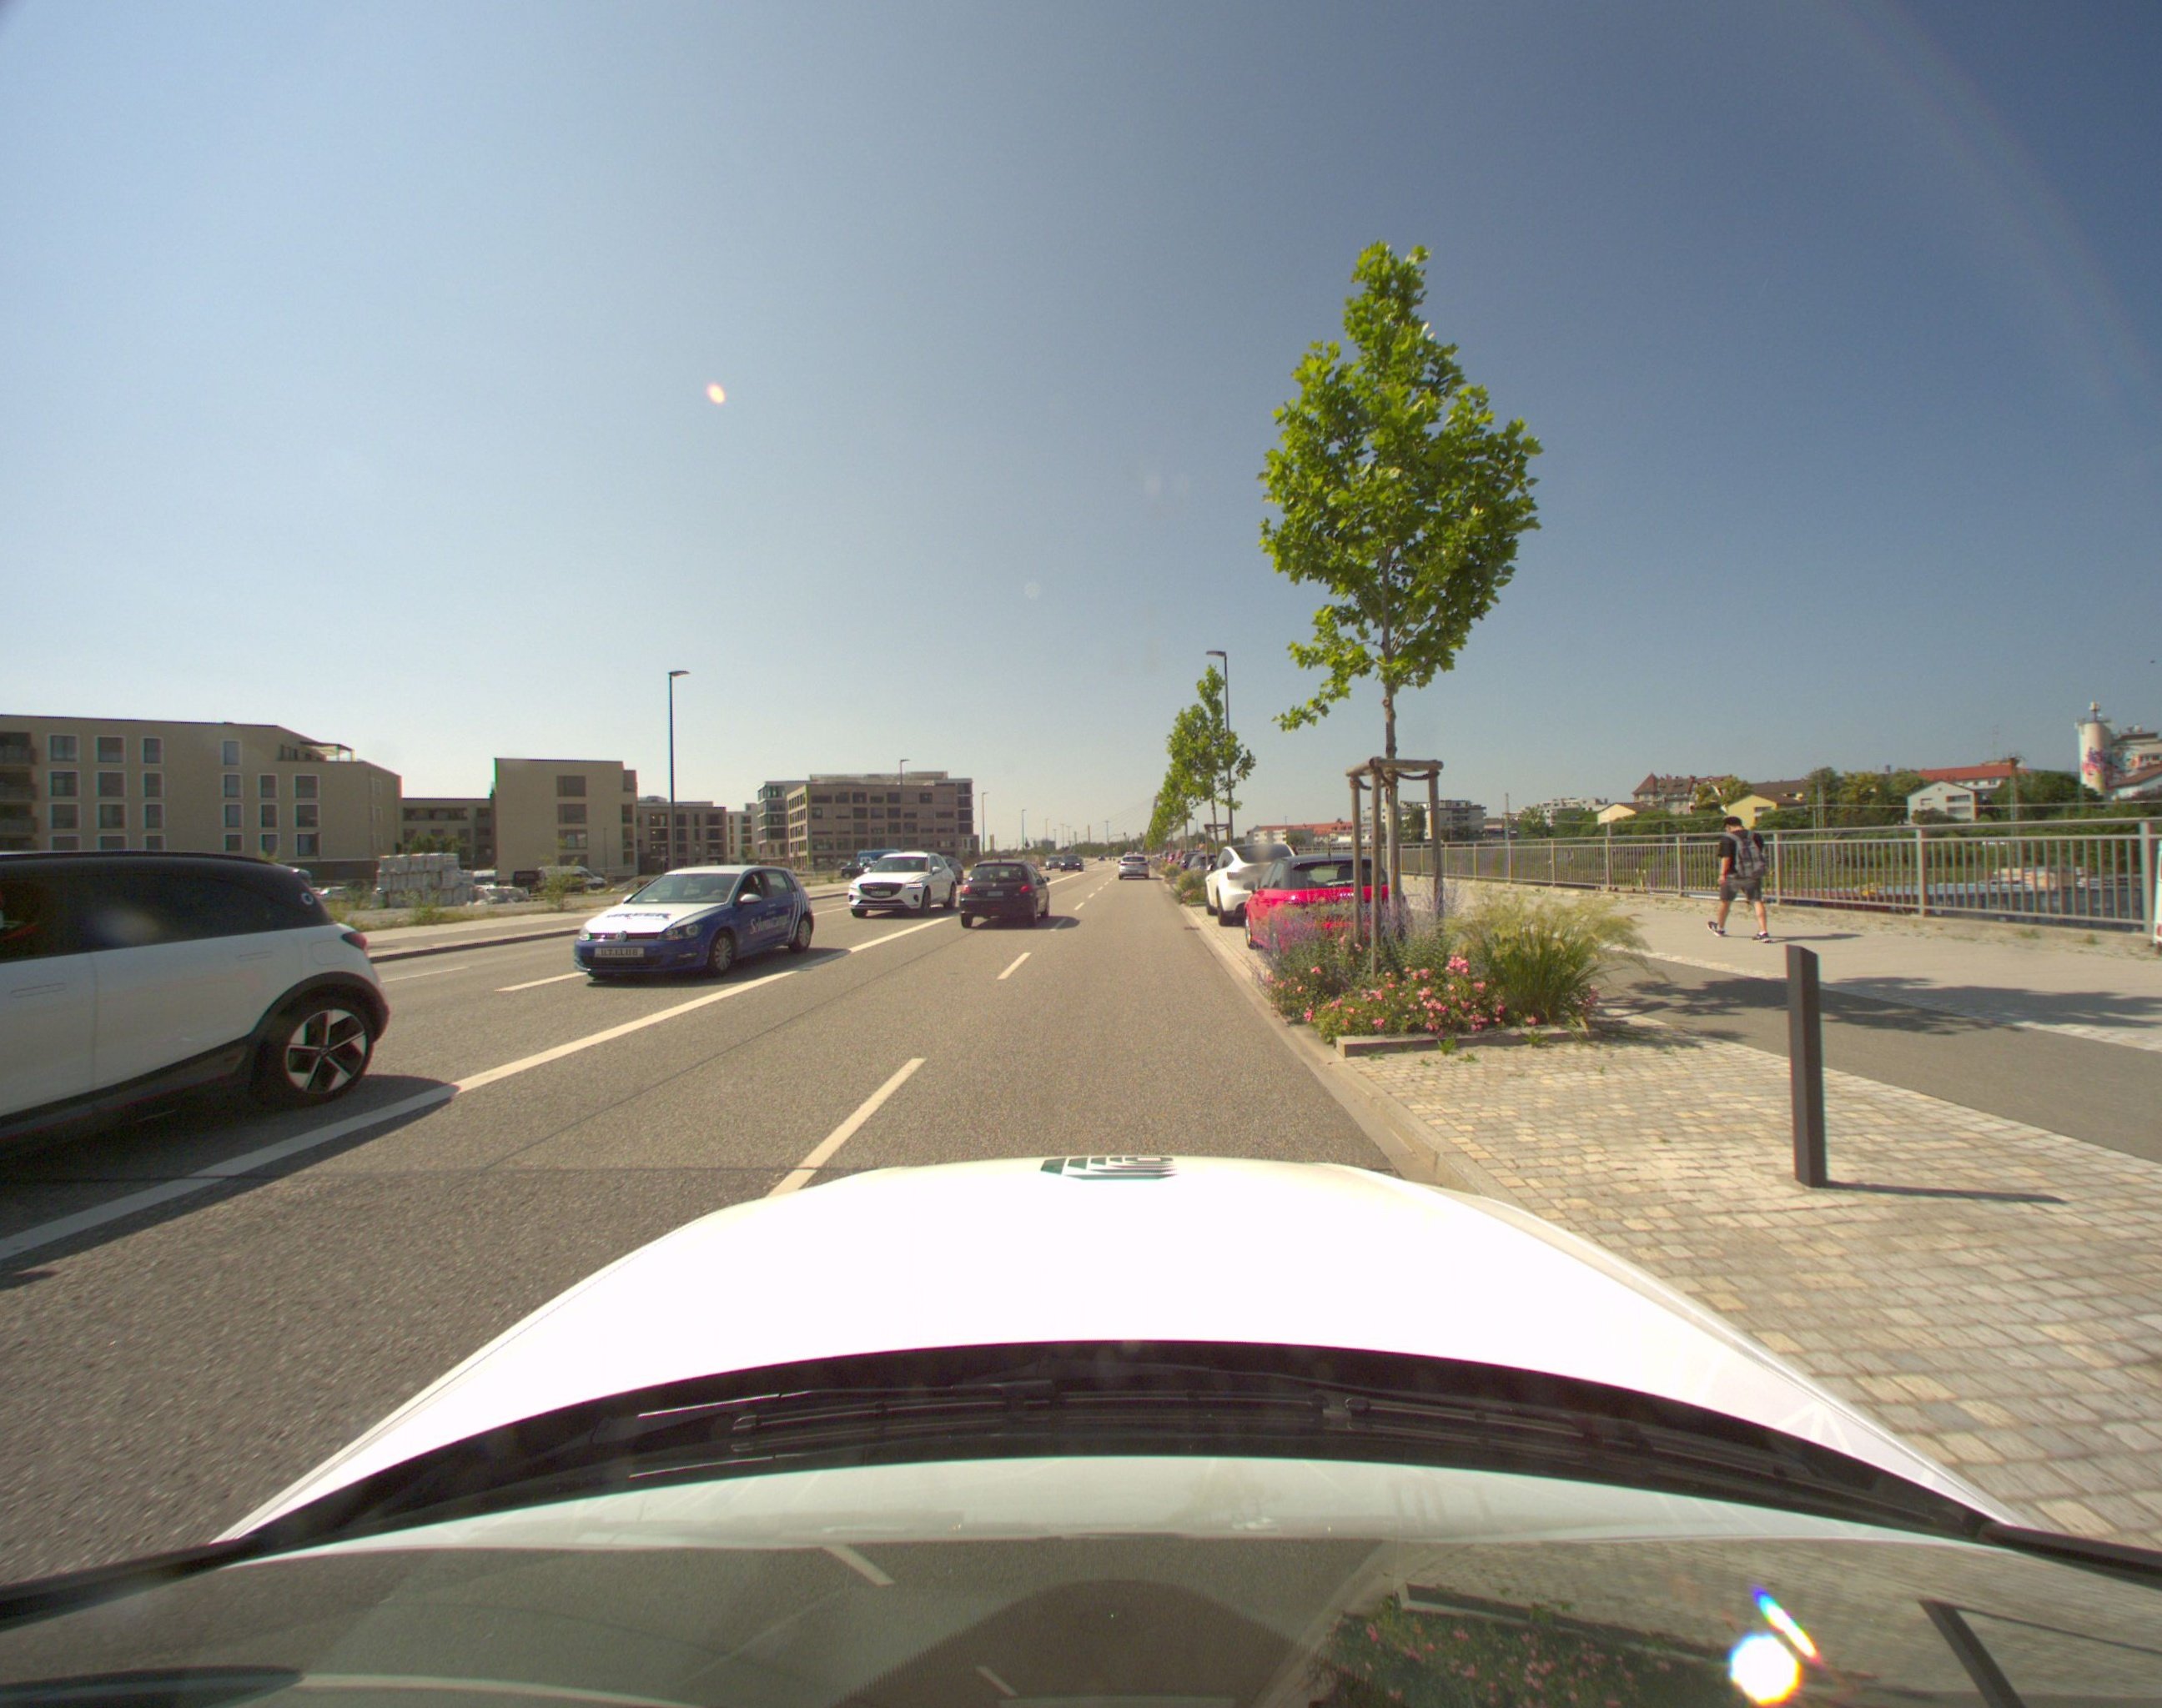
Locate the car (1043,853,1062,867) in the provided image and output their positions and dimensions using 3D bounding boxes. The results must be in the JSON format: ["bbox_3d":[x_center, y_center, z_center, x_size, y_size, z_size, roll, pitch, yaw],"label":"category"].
[{"bbox_3d":[-2.995,0.651,85.915,1.788,1.416,3.999,0,-1,0],"label":"car"}]

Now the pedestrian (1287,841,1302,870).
[{"bbox_3d":[12.794,0.088,48.868,0.728,1.705,0.652,0,-2,4],"label":"pedestrian"}]

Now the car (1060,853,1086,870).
[{"bbox_3d":[-0.638,0.606,70.916,1.778,1.398,4.578,-1,0,5],"label":"car"}]

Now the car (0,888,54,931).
[{"bbox_3d":[-53.244,2.742,39.841,2.005,2.013,4.611,-2,0,-28],"label":"car"}]

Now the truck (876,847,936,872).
[{"bbox_3d":[-18.167,0.542,84.718,5.544,2.362,2.276,-2,0,2],"label":"truck"}]

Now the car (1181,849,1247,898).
[{"bbox_3d":[4.455,0.602,27.792,1.899,1.479,4.164,-2,0,5],"label":"car"}]

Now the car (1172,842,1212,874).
[{"bbox_3d":[6.041,0.191,44.735,1.899,1.616,4.555,-2,0,5],"label":"car"}]

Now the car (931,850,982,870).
[{"bbox_3d":[-14.145,0.689,92.854,5.424,2.173,2.395,0,-1,0],"label":"car"}]

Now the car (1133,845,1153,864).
[{"bbox_3d":[5.955,0.038,78.725,1.786,1.750,4.001,0,-1,1],"label":"car"}]

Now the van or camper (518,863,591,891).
[{"bbox_3d":[-52.941,2.280,81.939,5.957,2.559,1.914,-2,0,-37],"label":"van or camper"}]

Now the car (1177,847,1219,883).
[{"bbox_3d":[5.169,0.450,36.305,1.612,1.479,3.830,-2,0,5],"label":"car"}]

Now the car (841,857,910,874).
[{"bbox_3d":[-18.467,1.010,73.291,5.629,1.474,2.108,0,-1,1],"label":"car"}]

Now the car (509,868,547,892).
[{"bbox_3d":[-46.923,2.160,69.174,2.003,1.849,3.967,-1,0,-25],"label":"car"}]

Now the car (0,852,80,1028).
[{"bbox_3d":[-11.599,0.889,6.556,1.986,1.706,4.002,-4,-1,2],"label":"car"}]

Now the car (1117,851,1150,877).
[{"bbox_3d":[3.137,0.564,48.212,1.769,1.442,4.007,-1,0,6],"label":"car"}]

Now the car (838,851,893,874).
[{"bbox_3d":[-17.749,0.716,67.257,3.961,1.904,1.833,0,-1,11],"label":"car"}]

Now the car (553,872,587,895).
[{"bbox_3d":[-44.082,2.500,70.326,2.003,1.849,3.967,-1,0,-25],"label":"car"}]

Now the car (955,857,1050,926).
[{"bbox_3d":[-1.681,0.785,18.623,1.613,1.416,3.730,0,-1,3],"label":"car"}]

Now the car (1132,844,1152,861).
[{"bbox_3d":[5.872,-0.120,78.352,1.769,1.569,4.006,0,-1,6],"label":"car"}]

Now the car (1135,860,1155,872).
[{"bbox_3d":[7.152,1.301,91.766,1.629,1.310,3.993,0,-1,-4],"label":"car"}]

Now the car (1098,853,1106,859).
[{"bbox_3d":[5.347,0.532,204.316,1.696,1.352,4.461,-2,-1,4],"label":"car"}]

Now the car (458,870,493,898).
[{"bbox_3d":[-51.204,2.490,68.935,2.007,2.240,3.960,-1,0,-31],"label":"car"}]

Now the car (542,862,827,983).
[{"bbox_3d":[-5.410,0.845,11.855,1.778,1.421,4.287,-1,-1,4],"label":"car"}]

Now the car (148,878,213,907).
[{"bbox_3d":[-70.038,2.968,63.408,2.003,2.013,3.967,-1,0,-25],"label":"car"}]

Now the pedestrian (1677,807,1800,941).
[{"bbox_3d":[8.511,0.246,10.588,0.747,1.609,0.950,-4,0,4],"label":"pedestrian"}]

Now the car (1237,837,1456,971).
[{"bbox_3d":[3.422,0.575,11.334,1.985,1.519,4.005,-1,0,4],"label":"car"}]

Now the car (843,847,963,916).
[{"bbox_3d":[-4.683,0.684,22.217,1.904,1.650,4.736,-1,0,4],"label":"car"}]

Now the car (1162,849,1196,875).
[{"bbox_3d":[6.236,0.519,52.182,1.599,1.491,3.817,-3,0,-1],"label":"car"}]

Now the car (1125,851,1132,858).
[{"bbox_3d":[12.347,0.186,213.052,1.846,1.649,4.004,0,0,4],"label":"car"}]

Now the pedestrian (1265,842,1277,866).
[{"bbox_3d":[13.618,-0.028,58.367,0.777,1.705,0.743,0,-1,4],"label":"pedestrian"}]

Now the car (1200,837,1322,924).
[{"bbox_3d":[3.737,0.521,17.794,1.864,1.627,4.880,0,-1,3],"label":"car"}]

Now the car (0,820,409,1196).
[{"bbox_3d":[-5.726,0.703,3.729,1.772,1.682,4.100,-1,0,2],"label":"car"}]

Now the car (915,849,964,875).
[{"bbox_3d":[-7.875,0.463,45.632,1.885,1.415,3.602,0,-1,4],"label":"car"}]

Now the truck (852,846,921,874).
[{"bbox_3d":[-18.461,0.566,77.605,5.984,2.543,2.275,-1,-1,0],"label":"truck"}]
